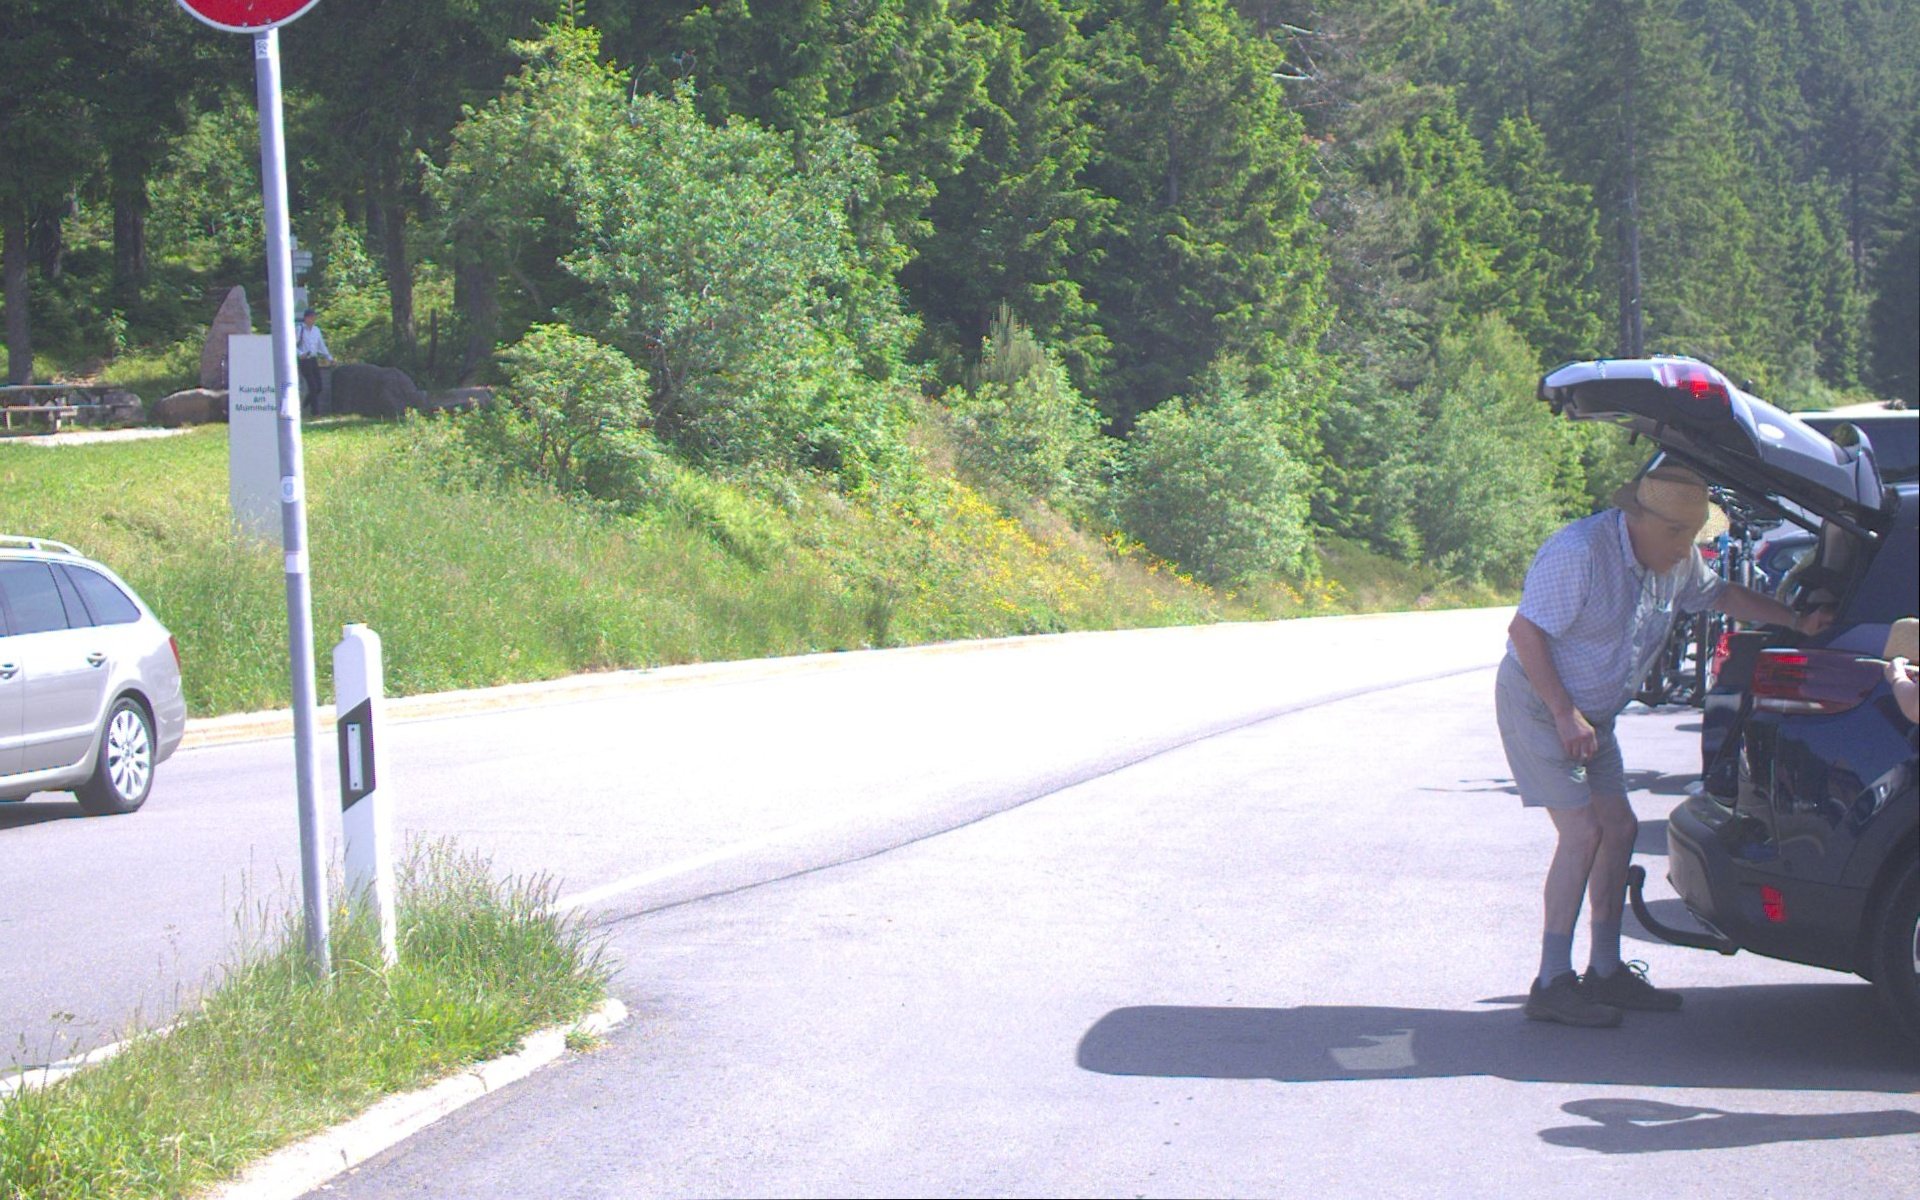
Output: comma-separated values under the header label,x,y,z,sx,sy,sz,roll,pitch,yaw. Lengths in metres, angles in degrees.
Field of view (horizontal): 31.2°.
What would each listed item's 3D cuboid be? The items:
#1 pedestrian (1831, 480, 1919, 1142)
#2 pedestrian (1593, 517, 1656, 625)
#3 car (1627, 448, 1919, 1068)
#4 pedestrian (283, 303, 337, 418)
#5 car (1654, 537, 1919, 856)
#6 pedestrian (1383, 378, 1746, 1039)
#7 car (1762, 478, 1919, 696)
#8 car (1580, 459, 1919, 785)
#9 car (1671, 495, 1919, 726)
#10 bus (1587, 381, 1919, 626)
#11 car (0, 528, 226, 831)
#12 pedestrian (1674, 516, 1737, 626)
label,x,y,z,sx,sy,sz,roll,pitch,yaw
pedestrian,2.646,0.514,8.642,0.714,1.607,0.537,1,0,-6
pedestrian,9.885,-0.438,51.145,0.771,1.579,0.771,-1,1,21
car,4.185,0.488,9.801,4.345,1.620,1.869,3,1,9
pedestrian,-10.923,-4.017,57.746,0.540,1.871,0.682,-3,1,-43
car,5.327,0.445,15.747,4.083,1.372,1.702,1,1,8
pedestrian,1.789,0.278,10.198,0.737,1.864,0.756,4,5,44
car,8.874,-0.158,26.801,5.037,1.645,2.047,-1,1,14
car,5.954,0.085,18.522,4.953,1.690,1.944,-1,1,16
car,7.195,0.031,24.035,4.246,1.548,1.837,-1,1,14
bus,16.136,-1.494,50.822,13.110,3.520,3.040,-1,1,24
car,-5.537,0.383,17.088,1.880,1.469,4.712,0,1,13
pedestrian,10.957,-0.431,50.513,0.771,1.579,0.771,-1,1,21
